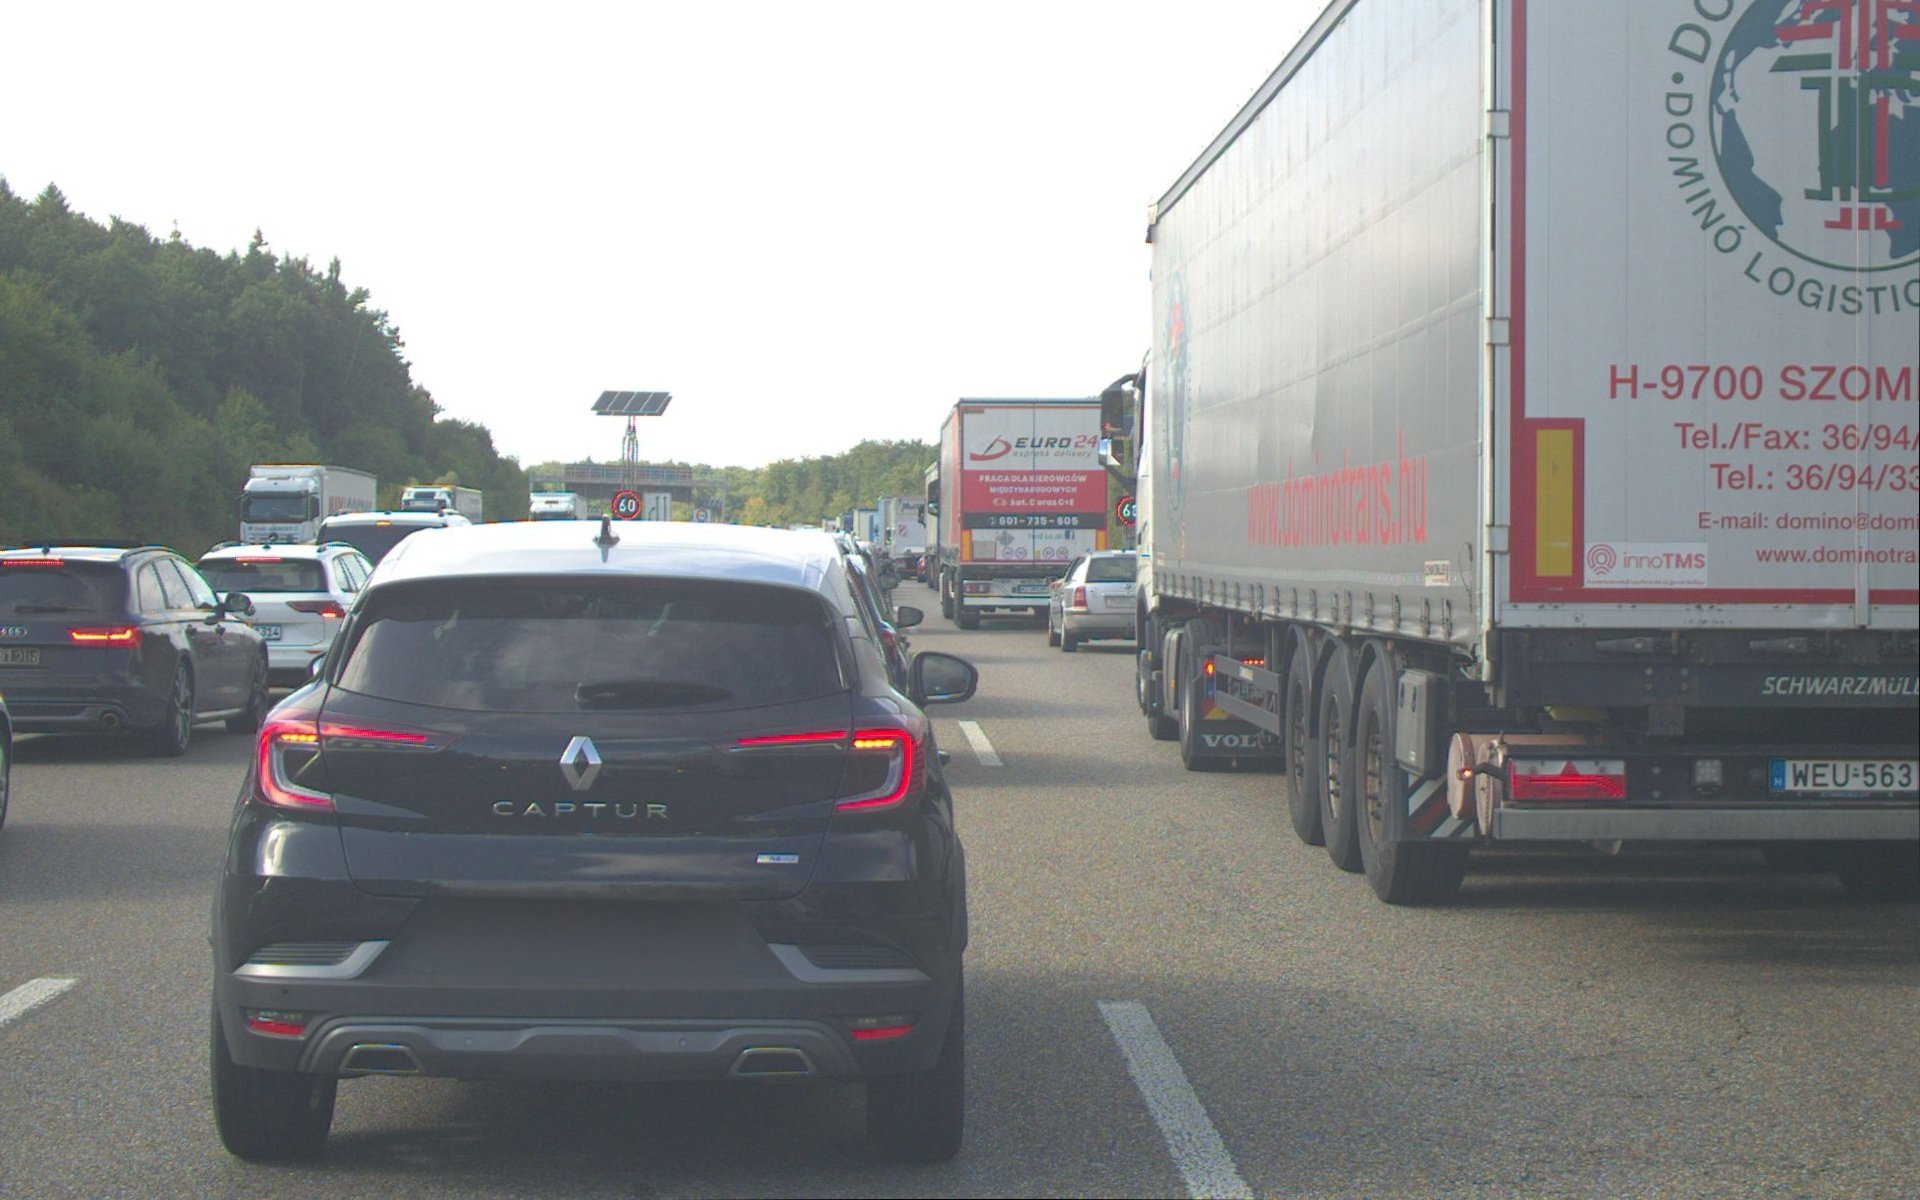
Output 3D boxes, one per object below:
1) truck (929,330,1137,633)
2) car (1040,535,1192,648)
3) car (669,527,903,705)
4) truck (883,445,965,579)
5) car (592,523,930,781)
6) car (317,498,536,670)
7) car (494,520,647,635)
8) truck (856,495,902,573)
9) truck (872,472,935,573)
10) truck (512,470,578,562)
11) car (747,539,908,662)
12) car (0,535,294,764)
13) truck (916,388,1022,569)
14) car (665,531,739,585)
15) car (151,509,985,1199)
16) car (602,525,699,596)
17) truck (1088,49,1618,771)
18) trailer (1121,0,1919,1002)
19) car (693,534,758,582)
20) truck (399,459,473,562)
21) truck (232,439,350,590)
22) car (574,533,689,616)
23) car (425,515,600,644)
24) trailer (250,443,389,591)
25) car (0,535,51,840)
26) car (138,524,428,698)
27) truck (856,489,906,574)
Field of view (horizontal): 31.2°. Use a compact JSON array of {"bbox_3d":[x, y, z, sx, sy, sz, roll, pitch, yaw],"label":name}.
[{"bbox_3d":[1.166,-2.050,63.972,3.365,5.027,12.738,1,1,-1],"label":"truck"},{"bbox_3d":[2.183,-0.134,49.115,1.804,1.527,3.926,1,1,-2],"label":"car"},{"bbox_3d":[-1.537,0.118,31.631,1.993,1.509,4.000,1,1,-1],"label":"car"},{"bbox_3d":[-1.475,-3.709,148.857,3.166,5.486,12.737,1,1,1],"label":"truck"},{"bbox_3d":[-1.221,0.291,22.522,1.993,1.509,4.000,1,1,-1],"label":"car"},{"bbox_3d":[-5.890,-0.187,38.410,1.911,1.783,4.418,1,1,-2],"label":"car"},{"bbox_3d":[-6.084,-0.356,54.042,1.993,1.716,4.000,1,1,-1],"label":"car"},{"bbox_3d":[-5.868,-4.761,251.140,3.166,5.486,12.738,1,1,-1],"label":"truck"},{"bbox_3d":[-2.988,-4.063,183.200,3.166,5.142,12.738,1,1,-1],"label":"truck"},{"bbox_3d":[-23.643,-4.763,196.184,3.088,5.083,7.142,1,0,-2],"label":"truck"},{"bbox_3d":[-1.690,-0.013,44.950,1.993,1.509,4.000,1,1,-1],"label":"car"},{"bbox_3d":[-6.120,0.278,24.646,1.843,1.451,4.748,1,1,-1],"label":"car"},{"bbox_3d":[0.192,-3.788,111.463,3.166,5.486,12.738,1,1,-1],"label":"truck"},{"bbox_3d":[-7.844,-1.303,104.895,1.993,1.607,4.000,1,1,-1],"label":"car"},{"bbox_3d":[-0.852,0.549,9.576,1.804,1.547,4.000,0,1,1],"label":"car"},{"bbox_3d":[-7.349,-0.958,81.994,1.993,1.607,4.000,1,1,-1],"label":"car"},{"bbox_3d":[2.667,-1.284,25.315,2.997,4.651,5.940,1,1,-2],"label":"truck"},{"bbox_3d":[2.897,-1.131,17.906,3.002,4.645,13.291,1,1,-2],"label":"trailer"},{"bbox_3d":[-8.066,-1.449,118.568,1.993,1.607,4.000,1,1,-1],"label":"car"},{"bbox_3d":[-25.238,-4.300,165.802,2.931,4.842,4.766,1,0,-2],"label":"truck"},{"bbox_3d":[-23.918,-3.009,123.204,3.039,5.235,6.884,1,0,-2],"label":"truck"},{"bbox_3d":[-6.637,-0.517,69.870,1.993,1.607,4.000,1,1,-1],"label":"car"},{"bbox_3d":[-5.980,-0.280,46.294,1.855,1.635,3.926,1,1,-1],"label":"car"},{"bbox_3d":[-24.131,-3.046,130.274,3.042,5.262,13.836,1,1,-2],"label":"trailer"},{"bbox_3d":[-5.461,0.447,15.485,1.747,1.460,4.041,0,1,-1],"label":"car"},{"bbox_3d":[-6.079,0.071,31.307,1.804,1.456,4.309,1,1,0],"label":"car"},{"bbox_3d":[-5.274,-4.574,232.617,3.166,5.486,12.738,1,1,-1],"label":"truck"}]
